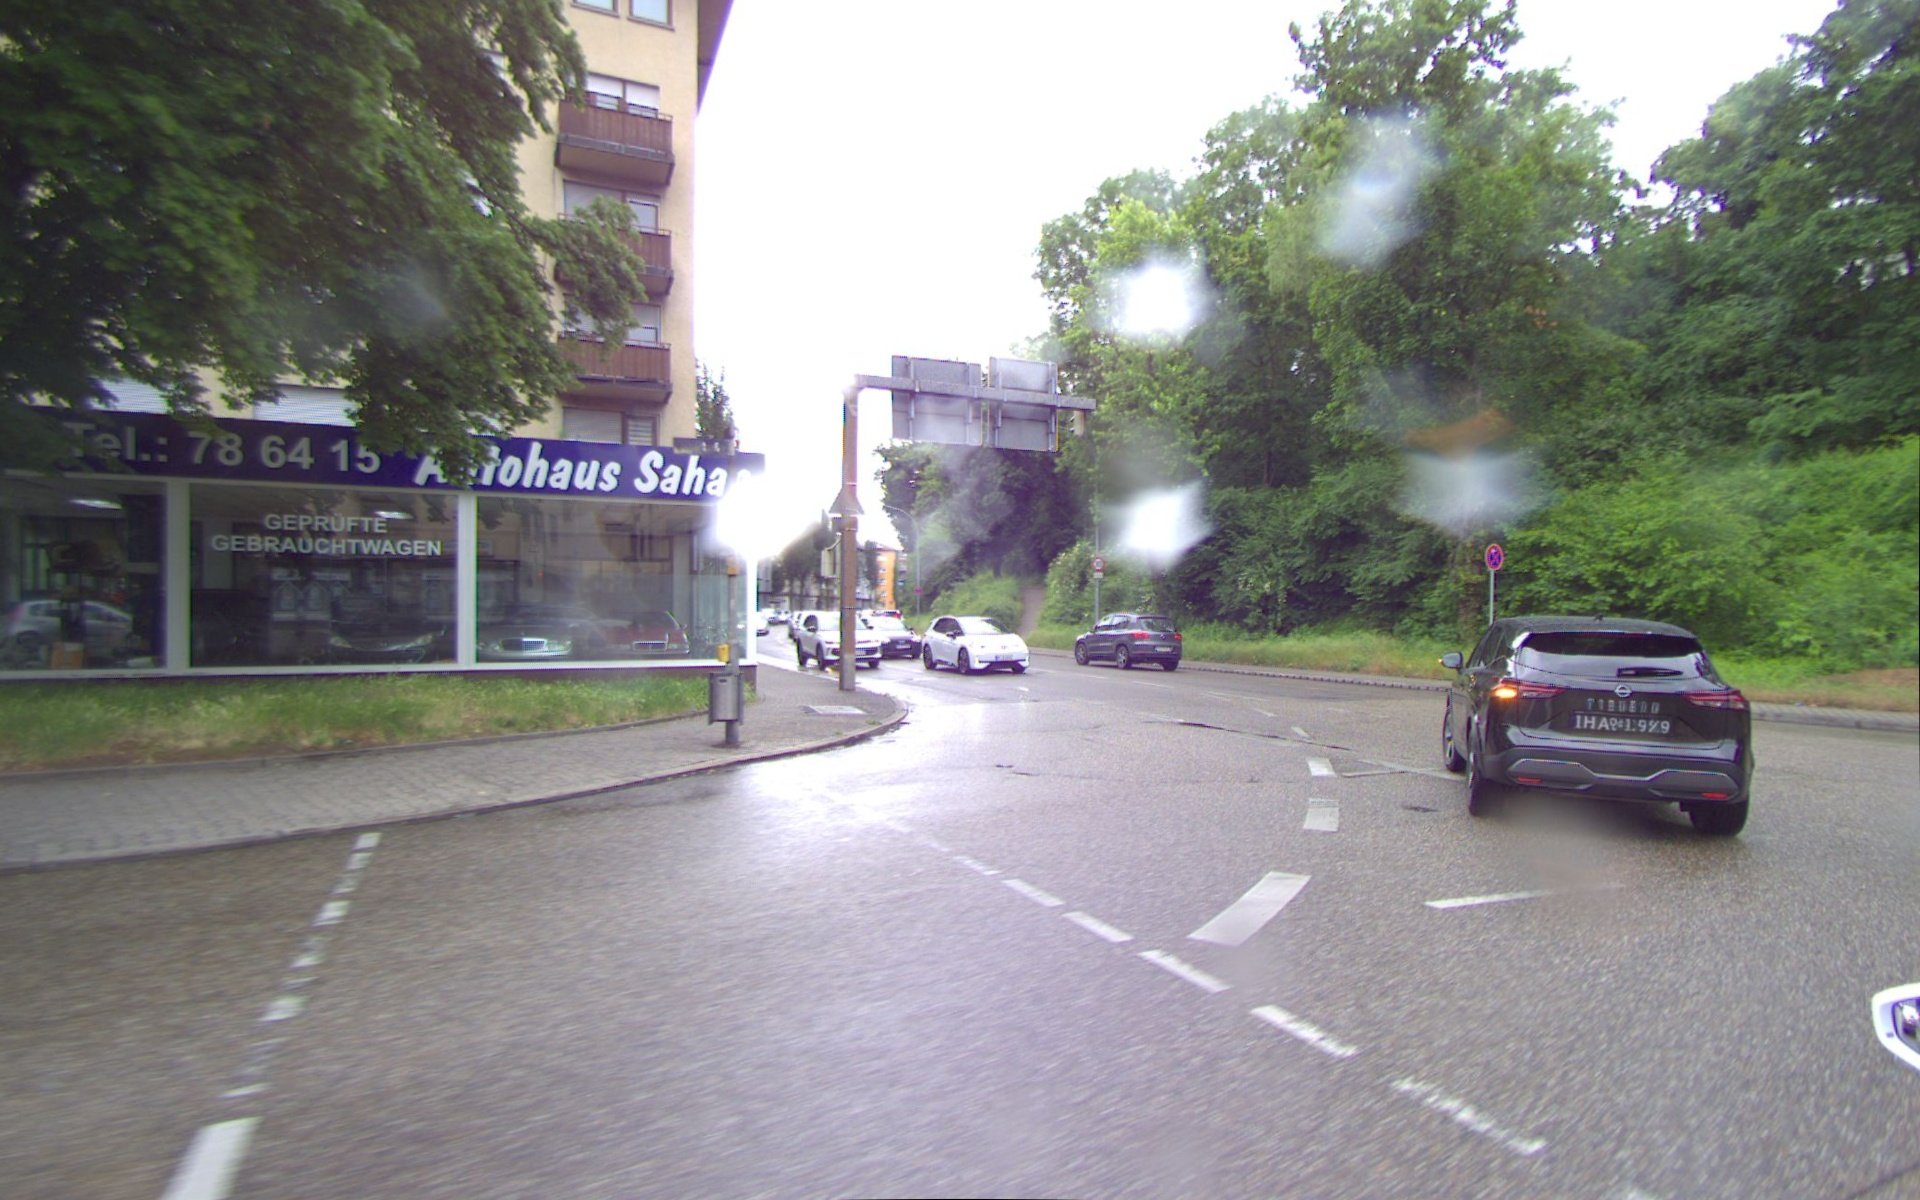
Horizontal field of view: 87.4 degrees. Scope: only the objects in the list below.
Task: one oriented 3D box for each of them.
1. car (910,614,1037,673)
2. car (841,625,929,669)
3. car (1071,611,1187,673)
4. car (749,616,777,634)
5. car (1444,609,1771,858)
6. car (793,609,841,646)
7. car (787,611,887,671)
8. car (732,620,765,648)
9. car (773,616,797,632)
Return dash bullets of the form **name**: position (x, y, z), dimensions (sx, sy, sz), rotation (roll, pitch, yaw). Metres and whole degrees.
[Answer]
- **car**: position (0.258, 1.166, 28.303), dimensions (1.908, 1.459, 4.606), rotation (-1, 0, -22)
- **car**: position (-2.745, 1.617, 35.650), dimensions (1.735, 1.386, 4.606), rotation (-1, 0, -22)
- **car**: position (5.012, 1.199, 30.383), dimensions (1.788, 1.624, 3.983), rotation (0, 1, -19)
- **car**: position (-18.526, 2.340, 94.633), dimensions (1.899, 1.668, 4.629), rotation (1, -1, -4)
- **car**: position (5.348, 0.917, 8.848), dimensions (1.782, 1.624, 3.998), rotation (1, -1, 24)
- **car**: position (-7.214, 1.338, 50.354), dimensions (1.966, 1.740, 3.989), rotation (0, 0, -14)
- **car**: position (-3.917, 1.214, 31.309), dimensions (1.908, 1.667, 4.606), rotation (-1, 0, -22)
- **car**: position (-13.211, 2.089, 62.545), dimensions (1.903, 1.668, 4.618), rotation (1, -1, -14)
- **car**: position (-18.413, 2.485, 105.634), dimensions (1.898, 1.668, 3.839), rotation (0, 0, -1)
